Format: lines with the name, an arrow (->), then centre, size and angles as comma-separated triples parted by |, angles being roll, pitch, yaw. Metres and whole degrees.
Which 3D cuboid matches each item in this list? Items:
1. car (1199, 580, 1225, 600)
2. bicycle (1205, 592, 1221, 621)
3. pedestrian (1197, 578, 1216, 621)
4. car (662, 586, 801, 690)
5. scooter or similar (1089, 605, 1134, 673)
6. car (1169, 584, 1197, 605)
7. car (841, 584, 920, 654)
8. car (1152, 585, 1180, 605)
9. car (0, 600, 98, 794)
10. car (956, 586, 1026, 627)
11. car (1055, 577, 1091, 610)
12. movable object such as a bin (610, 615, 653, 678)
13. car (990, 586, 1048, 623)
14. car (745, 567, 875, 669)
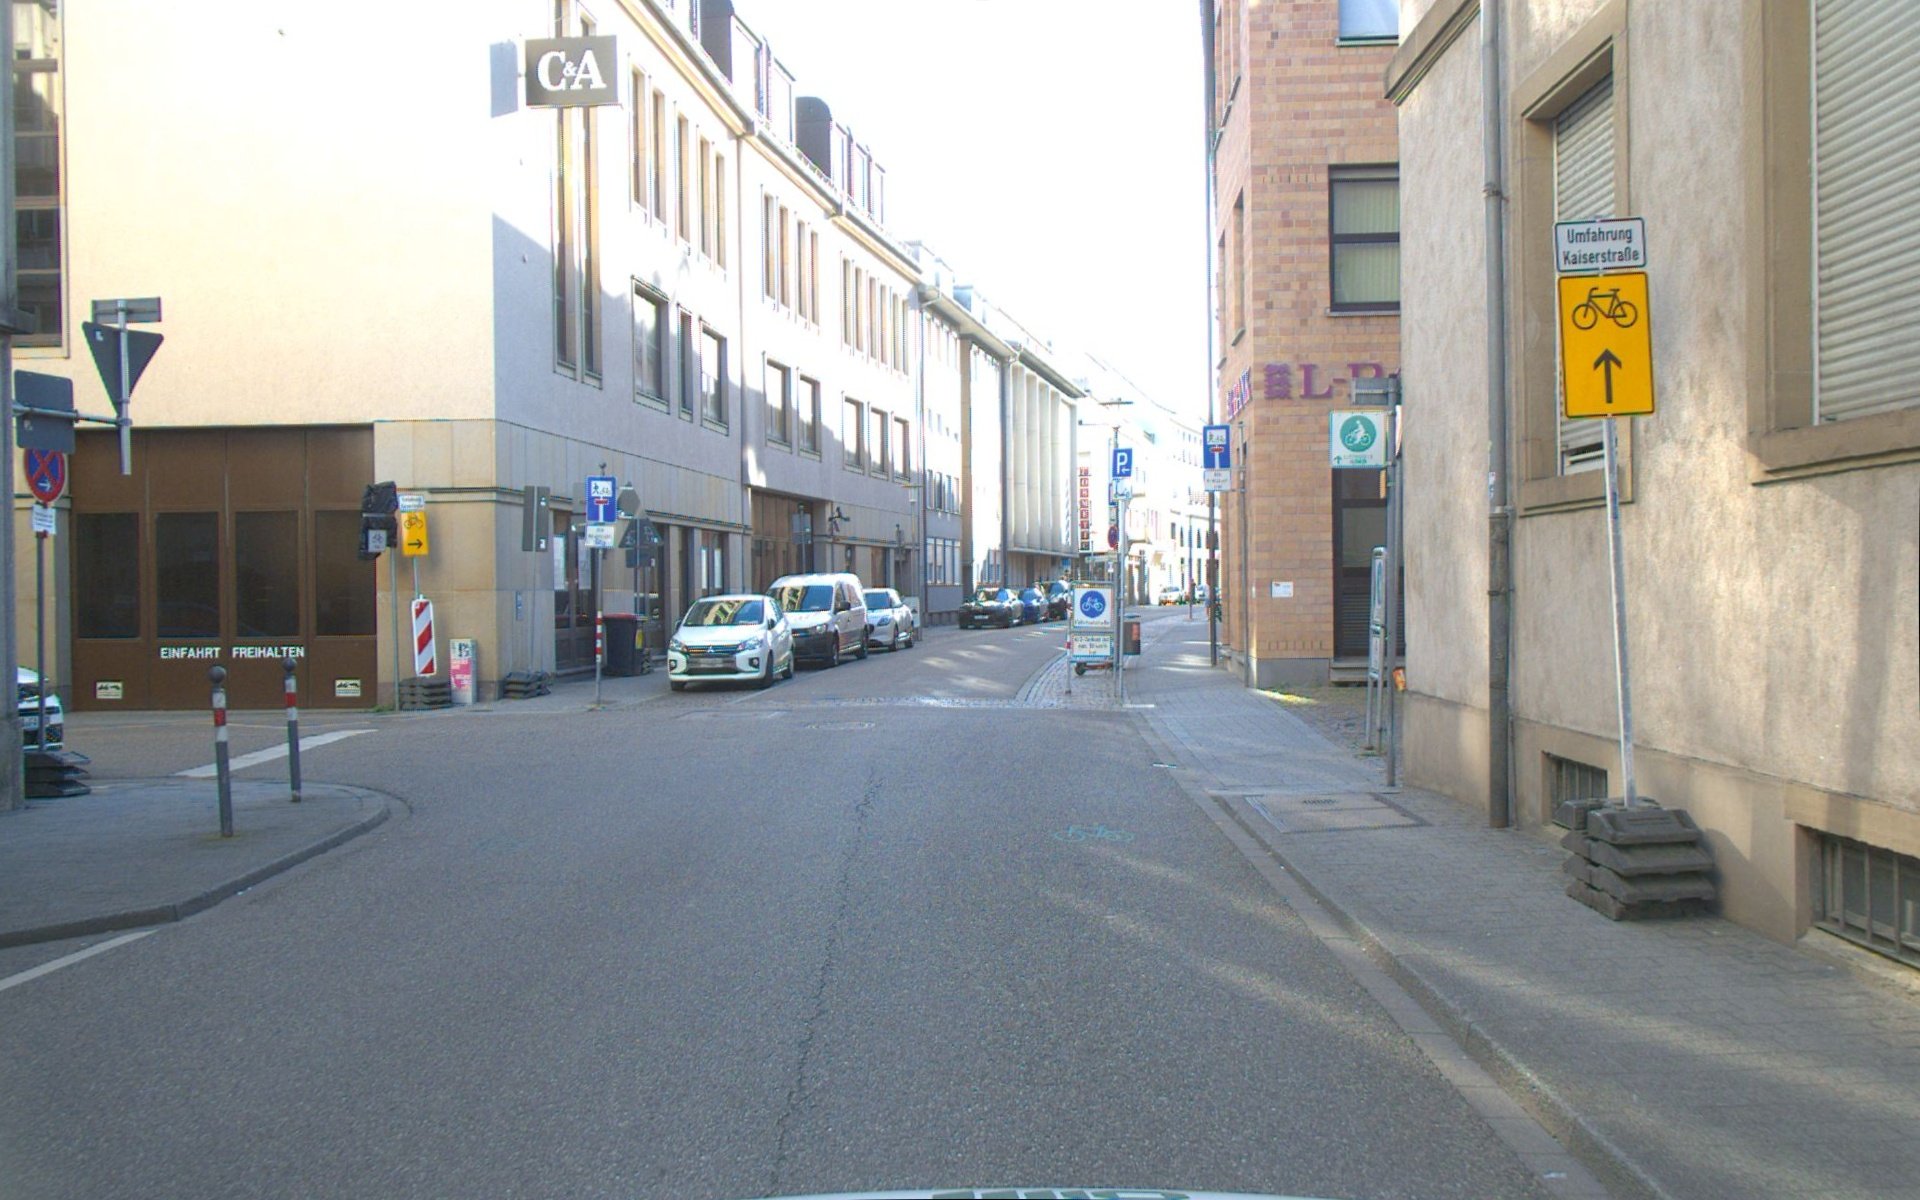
car -> 19.185, -0.761, 126.034 | 1.653, 1.394, 3.621 | -2, 1, 13
bicycle -> 9.304, 0.223, 60.833 | 0.500, 1.011, 2.650 | -1, 1, 7
pedestrian -> 10.207, -0.027, 68.524 | 0.651, 1.761, 0.840 | 1, 0, 0
car -> -3.746, 0.573, 27.696 | 1.636, 1.533, 3.795 | -3, 1, 2
scooter or similar -> 2.640, 0.680, 28.901 | 0.754, 1.156, 0.269 | 1, 0, 4
car -> 16.130, -0.403, 119.643 | 1.653, 1.394, 3.621 | -2, 1, 13
car -> -1.876, 0.423, 39.716 | 1.244, 1.533, 3.404 | -3, 1, 8
car -> 15.142, -0.377, 121.704 | 1.653, 1.394, 3.621 | -2, 1, 13
car -> -10.077, 0.899, 15.544 | 3.915, 1.684, 1.759 | -1, 1, 32
car -> 1.154, 0.223, 60.093 | 1.841, 1.355, 4.104 | -1, 1, 11
car -> 5.476, -0.345, 79.848 | 1.310, 1.520, 3.513 | -1, 1, 11
movable object such as a bin -> -5.731, 0.806, 28.886 | 0.596, 1.079, 0.713 | 1, 0, -2
car -> 2.411, 0.144, 66.460 | 1.687, 1.364, 4.004 | -2, 1, 11
car -> -2.954, 0.303, 33.547 | 1.635, 1.850, 4.555 | -3, 1, 7
